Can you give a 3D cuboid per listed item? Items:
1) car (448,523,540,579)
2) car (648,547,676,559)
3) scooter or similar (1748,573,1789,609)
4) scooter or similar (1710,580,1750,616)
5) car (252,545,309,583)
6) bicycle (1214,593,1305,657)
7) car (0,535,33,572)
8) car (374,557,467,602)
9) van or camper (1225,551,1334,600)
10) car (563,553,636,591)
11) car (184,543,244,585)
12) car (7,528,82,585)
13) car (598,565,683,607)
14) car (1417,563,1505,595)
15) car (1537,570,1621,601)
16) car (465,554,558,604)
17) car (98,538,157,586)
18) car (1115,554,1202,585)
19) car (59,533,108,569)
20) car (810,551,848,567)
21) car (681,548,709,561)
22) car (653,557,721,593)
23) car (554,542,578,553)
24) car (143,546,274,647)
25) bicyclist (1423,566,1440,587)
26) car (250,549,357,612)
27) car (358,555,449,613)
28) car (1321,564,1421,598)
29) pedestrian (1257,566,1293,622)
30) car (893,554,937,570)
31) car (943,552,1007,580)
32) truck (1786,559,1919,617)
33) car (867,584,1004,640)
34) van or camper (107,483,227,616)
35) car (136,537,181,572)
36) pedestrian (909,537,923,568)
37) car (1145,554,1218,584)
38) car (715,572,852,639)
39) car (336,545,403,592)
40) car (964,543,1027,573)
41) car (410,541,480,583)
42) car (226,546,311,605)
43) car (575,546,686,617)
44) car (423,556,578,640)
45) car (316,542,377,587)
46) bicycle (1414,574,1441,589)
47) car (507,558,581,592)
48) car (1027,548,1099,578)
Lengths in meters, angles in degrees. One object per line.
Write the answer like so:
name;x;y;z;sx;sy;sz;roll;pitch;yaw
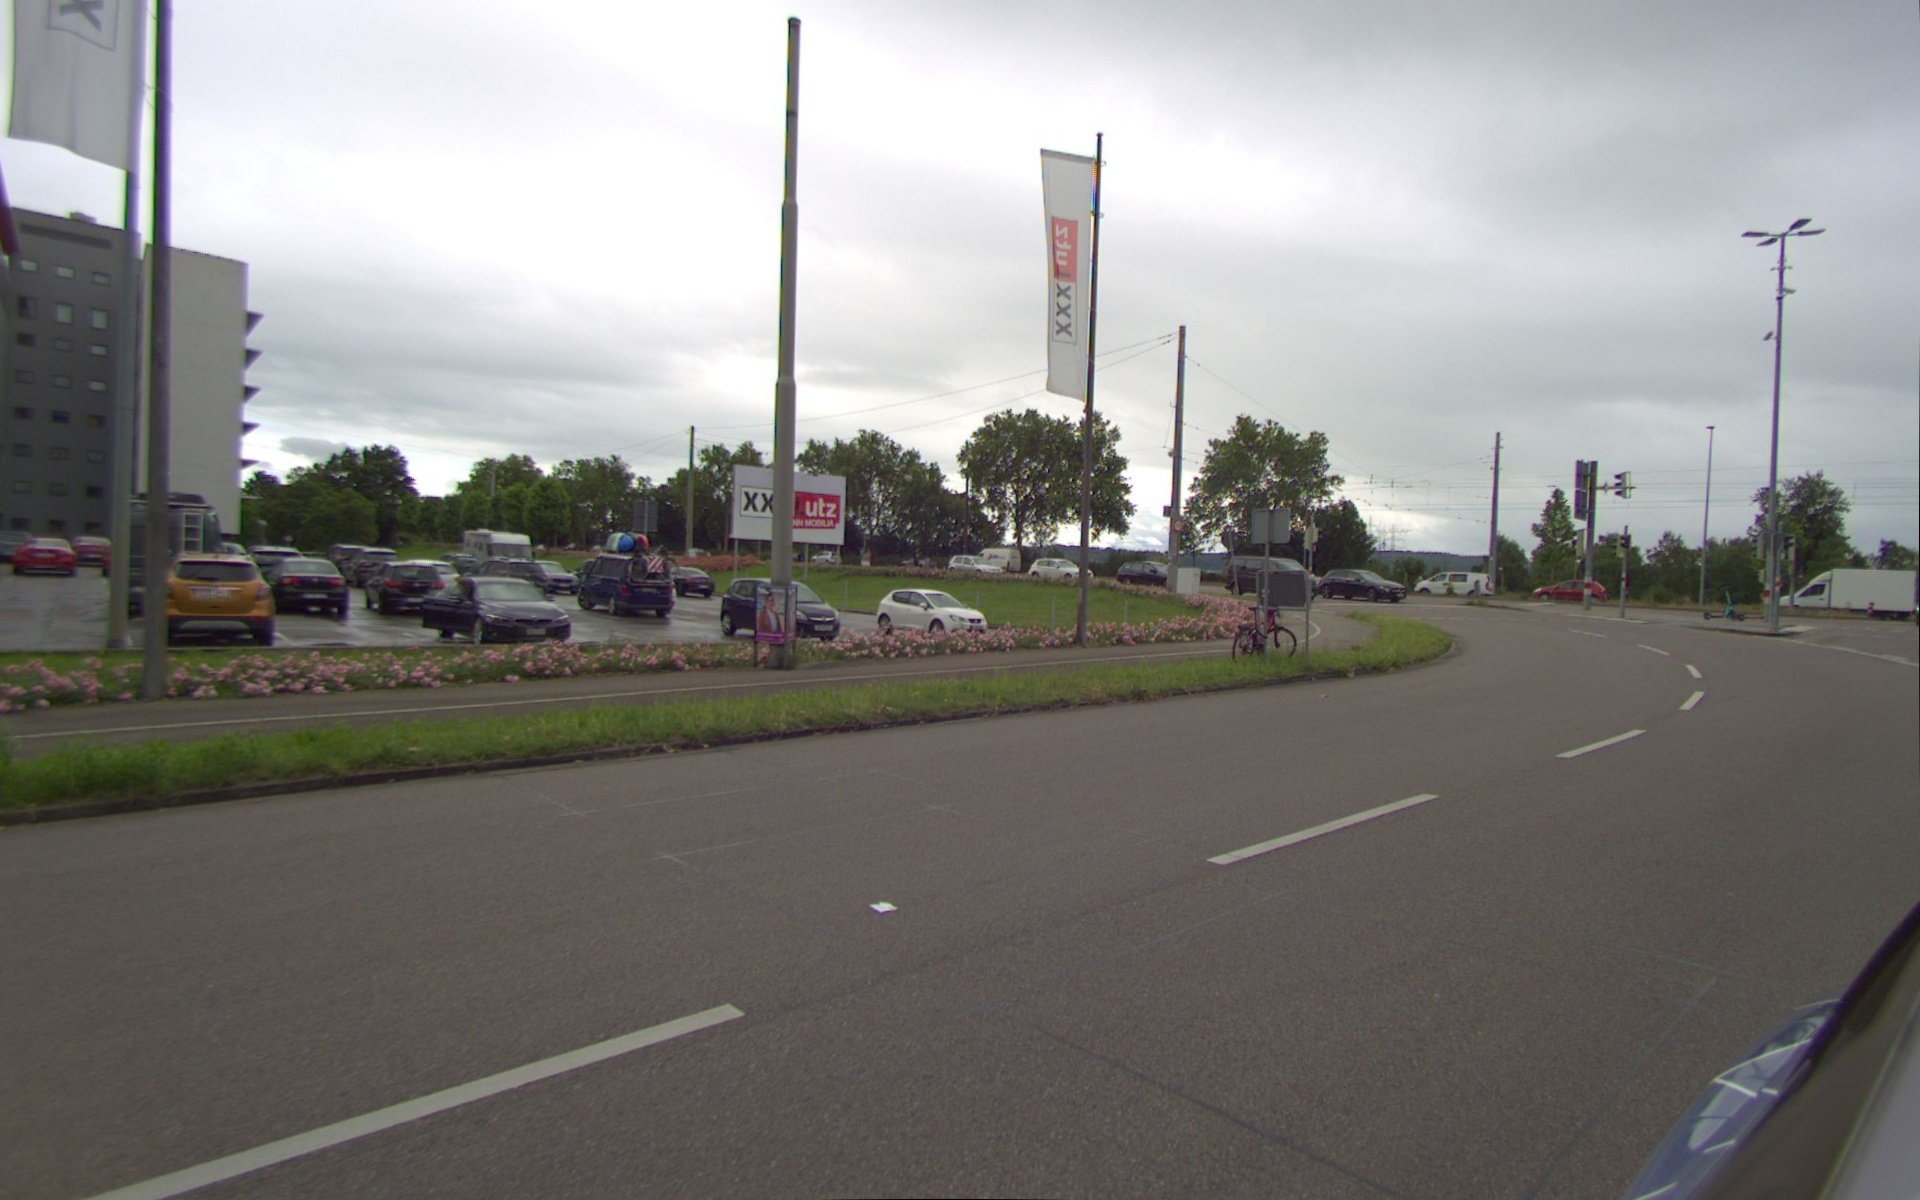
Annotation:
car;-28.146;-2.939;61.015;2.723;3.027;6.932;3;0;-45
car;-44.452;-6.972;150.939;4.301;1.581;1.834;3;-1;42
scooter or similar;29.973;-0.343;37.529;0.455;1.271;1.020;0;3;-28
scooter or similar;28.953;-0.089;38.055;0.314;1.271;1.117;-1;3;-28
car;-30.388;-1.619;45.226;1.746;1.550;3.997;1;2;-39
bicycle;5.392;0.426;18.193;1.659;1.061;0.665;0;2;-35
car;-44.165;-2.147;46.861;1.621;1.580;3.612;2;0;-40
car;-18.973;-0.756;35.528;3.892;1.486;1.803;2;2;44
van or camper;14.725;-1.200;46.975;2.080;2.037;4.764;-1;4;-26
car;-17.489;-1.378;49.002;1.855;1.686;3.991;1;2;-44
car;-31.801;-1.555;43.091;1.915;1.674;3.998;0;3;-39
car;-35.148;-1.648;38.948;1.964;2.039;3.996;0;2;-40
car;-12.538;-0.590;39.586;1.714;1.494;4.208;0;2;-39
car;34.917;-1.478;70.592;5.095;1.903;2.071;4;1;38
car;38.138;-0.897;62.419;4.227;1.672;1.760;4;1;38
car;-16.337;-0.784;36.784;1.966;1.696;3.993;0;2;-42
car;-33.680;-1.554;41.002;1.788;1.840;3.998;0;3;-39
car;10.471;-1.635;53.655;1.932;1.482;4.323;1;3;-36
car;-41.595;-2.338;48.077;1.621;1.579;3.613;2;2;-40
car;-14.641;-4.530;113.014;4.184;1.571;1.833;4;1;40
car;-35.929;-6.132;137.260;1.967;1.645;3.991;0;2;-44
car;-14.073;-1.284;52.056;1.881;1.778;3.995;0;2;-40
car;-64.604;-8.659;166.011;4.298;1.657;1.811;4;1;40
car;-13.874;-0.136;18.747;1.781;1.663;4.000;0;2;-36
bicyclist;34.742;-1.744;74.630;0.962;1.470;0.684;4;4;35
car;-18.039;-0.551;27.748;1.965;1.588;3.995;0;2;-40
car;-16.326;-0.508;29.604;1.910;1.575;4.001;0;2;-35
car;19.619;-0.946;48.461;1.800;1.482;4.214;0;2;-29
pedestrian;9.349;-0.203;30.043;0.702;1.616;0.785;0;3;-9
car;-4.594;-3.878;102.569;4.328;1.408;1.848;5;1;42
car;0.939;-2.214;65.201;1.717;1.622;4.066;3;0;-44
truck;51.573;-0.676;57.936;6.515;2.959;2.787;4;1;40
car;-0.800;0.334;30.582;1.843;1.464;4.113;3;0;-42
van or camper;-19.975;-1.242;25.706;1.952;3.020;5.401;1;2;-34
car;-39.918;-2.268;50.363;1.621;1.579;3.613;2;2;-40
pedestrian;-2.602;-2.811;60.203;0.626;1.804;0.543;3;-1;17
car;13.536;-1.929;61.993;1.966;1.749;3.993;0;2;-42
car;-4.800;0.116;27.109;1.738;1.603;4.100;2;0;-41
car;-24.917;-1.351;42.645;1.831;1.802;4.221;1;2;-39
car;3.531;-4.196;101.426;5.881;2.658;2.623;4;1;43
car;-25.570;-1.897;50.222;1.968;1.975;3.990;0;2;-45
car;-21.646;-0.804;31.633;1.852;1.690;3.997;0;2;-39
car;-11.273;-0.695;34.396;2.082;2.191;5.052;0;3;-36
car;-10.021;-0.118;21.881;1.740;1.603;4.532;-1;2;-43
car;-28.259;-1.646;46.582;1.915;1.952;3.998;0;3;-39
bicycle;34.571;-1.380;74.842;1.699;1.058;0.542;4;4;35
car;-19.202;-1.165;46.602;1.803;1.535;3.990;0;2;-44
car;5.990;-2.198;59.338;1.703;1.558;4.040;3;1;-41
